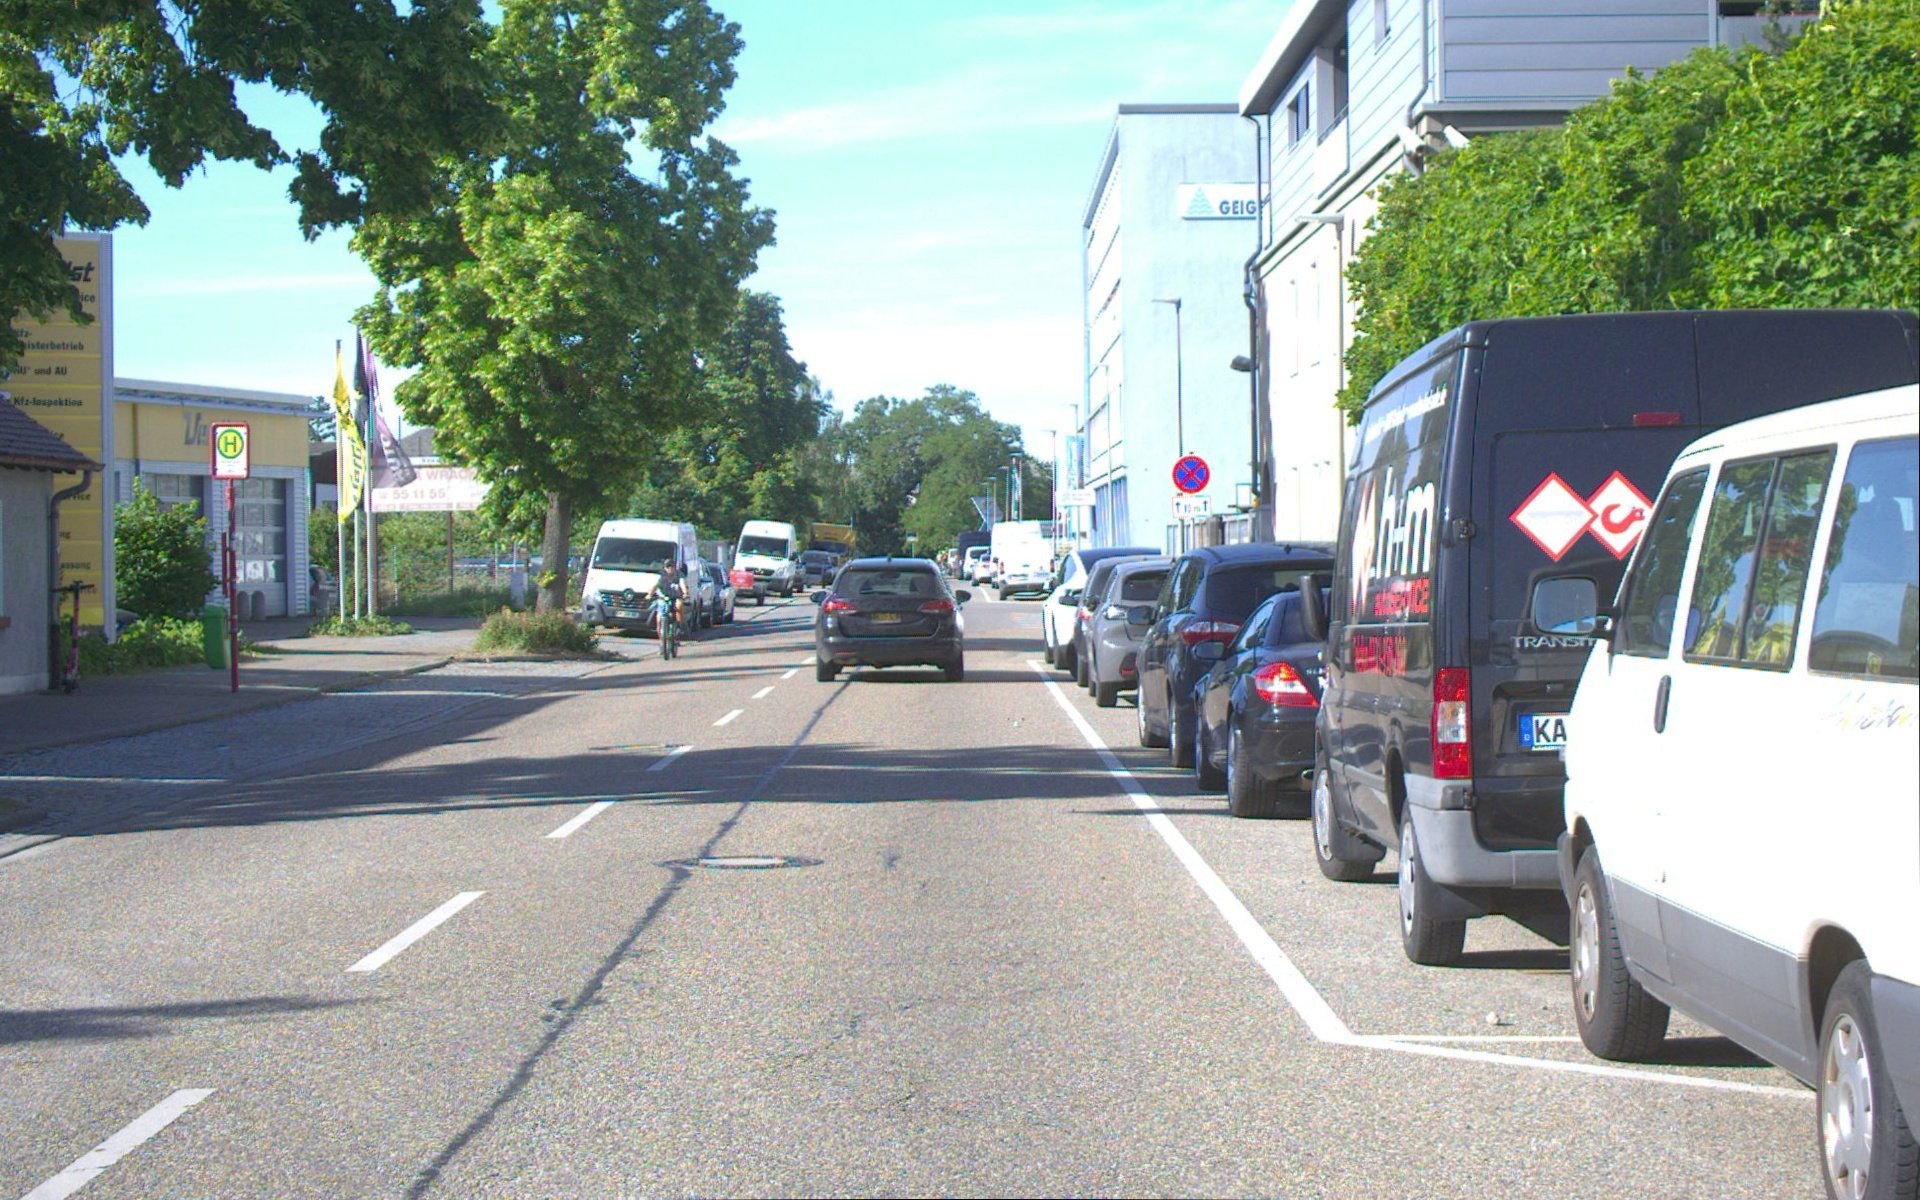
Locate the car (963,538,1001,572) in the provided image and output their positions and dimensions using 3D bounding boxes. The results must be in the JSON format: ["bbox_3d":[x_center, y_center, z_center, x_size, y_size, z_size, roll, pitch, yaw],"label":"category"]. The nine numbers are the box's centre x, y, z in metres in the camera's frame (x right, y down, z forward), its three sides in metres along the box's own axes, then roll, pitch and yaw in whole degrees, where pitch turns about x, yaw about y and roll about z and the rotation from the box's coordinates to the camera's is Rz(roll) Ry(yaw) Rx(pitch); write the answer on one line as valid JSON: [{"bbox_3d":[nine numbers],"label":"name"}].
[{"bbox_3d":[1.211,-2.430,188.270,1.885,1.791,5.104,1,0,-1],"label":"car"}]

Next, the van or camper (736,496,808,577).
[{"bbox_3d":[-6.749,-2.291,123.823,1.966,2.676,5.948,4,1,1],"label":"van or camper"}]

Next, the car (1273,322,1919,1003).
[{"bbox_3d":[2.478,0.162,14.110,1.892,2.252,5.146,-1,1,0],"label":"car"}]

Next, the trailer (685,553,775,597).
[{"bbox_3d":[-6.981,-0.785,105.079,2.376,1.076,6.246,3,2,-1],"label":"trailer"}]

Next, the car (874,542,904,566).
[{"bbox_3d":[-4.280,-2.779,208.203,1.747,1.442,4.361,-1,1,-1],"label":"car"}]

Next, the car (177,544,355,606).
[{"bbox_3d":[-18.167,-0.653,90.051,4.159,1.568,1.915,0,1,10],"label":"car"}]

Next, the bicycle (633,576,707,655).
[{"bbox_3d":[-4.730,0.237,56.310,0.839,1.235,2.604,2,0,3],"label":"bicycle"}]

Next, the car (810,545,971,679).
[{"bbox_3d":[-0.807,0.106,42.143,1.847,1.525,4.000,-1,1,0],"label":"car"}]

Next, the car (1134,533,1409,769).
[{"bbox_3d":[2.263,0.313,25.910,1.681,1.608,4.205,1,1,0],"label":"car"}]

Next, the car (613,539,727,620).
[{"bbox_3d":[-6.749,-0.510,80.479,1.994,1.732,4.574,3,1,3],"label":"car"}]

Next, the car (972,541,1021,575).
[{"bbox_3d":[1.490,-1.747,143.922,1.894,1.400,5.124,1,0,-1],"label":"car"}]

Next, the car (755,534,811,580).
[{"bbox_3d":[-7.022,-1.728,136.964,2.030,1.688,5.107,3,1,-2],"label":"car"}]

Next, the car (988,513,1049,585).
[{"bbox_3d":[2.234,-2.005,132.552,1.993,2.589,6.052,-3,2,-2],"label":"car"}]

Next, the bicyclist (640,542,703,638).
[{"bbox_3d":[-4.722,-0.166,56.305,0.839,1.537,1.136,2,0,3],"label":"bicyclist"}]

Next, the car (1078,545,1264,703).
[{"bbox_3d":[2.130,0.207,35.565,1.659,1.500,4.032,-1,1,0],"label":"car"}]

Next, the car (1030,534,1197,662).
[{"bbox_3d":[2.071,-0.068,47.673,1.931,1.639,4.770,-1,1,-2],"label":"car"}]

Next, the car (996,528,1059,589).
[{"bbox_3d":[2.078,-1.291,106.518,1.889,1.826,5.090,0,1,1],"label":"car"}]

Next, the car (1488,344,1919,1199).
[{"bbox_3d":[2.686,0.425,8.794,1.892,1.919,4.921,-1,1,0],"label":"car"}]

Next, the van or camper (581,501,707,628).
[{"bbox_3d":[-6.829,-0.802,74.922,2.070,2.540,6.404,3,1,-1],"label":"van or camper"}]

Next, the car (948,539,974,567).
[{"bbox_3d":[0.082,-3.499,254.780,1.874,2.007,5.160,1,0,0],"label":"car"}]

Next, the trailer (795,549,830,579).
[{"bbox_3d":[-6.799,-1.657,158.196,1.476,1.349,3.079,1,1,0],"label":"trailer"}]

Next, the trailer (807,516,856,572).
[{"bbox_3d":[-8.116,-3.525,217.261,2.991,3.431,8.162,-1,1,-2],"label":"trailer"}]

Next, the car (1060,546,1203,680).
[{"bbox_3d":[2.075,0.118,41.090,1.599,1.468,4.189,-1,1,4],"label":"car"}]

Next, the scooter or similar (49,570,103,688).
[{"bbox_3d":[-9.815,0.309,38.159,0.481,1.266,1.579,-1,1,-18],"label":"scooter or similar"}]

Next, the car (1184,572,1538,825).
[{"bbox_3d":[2.327,0.521,20.836,1.654,1.314,4.104,-1,1,0],"label":"car"}]
